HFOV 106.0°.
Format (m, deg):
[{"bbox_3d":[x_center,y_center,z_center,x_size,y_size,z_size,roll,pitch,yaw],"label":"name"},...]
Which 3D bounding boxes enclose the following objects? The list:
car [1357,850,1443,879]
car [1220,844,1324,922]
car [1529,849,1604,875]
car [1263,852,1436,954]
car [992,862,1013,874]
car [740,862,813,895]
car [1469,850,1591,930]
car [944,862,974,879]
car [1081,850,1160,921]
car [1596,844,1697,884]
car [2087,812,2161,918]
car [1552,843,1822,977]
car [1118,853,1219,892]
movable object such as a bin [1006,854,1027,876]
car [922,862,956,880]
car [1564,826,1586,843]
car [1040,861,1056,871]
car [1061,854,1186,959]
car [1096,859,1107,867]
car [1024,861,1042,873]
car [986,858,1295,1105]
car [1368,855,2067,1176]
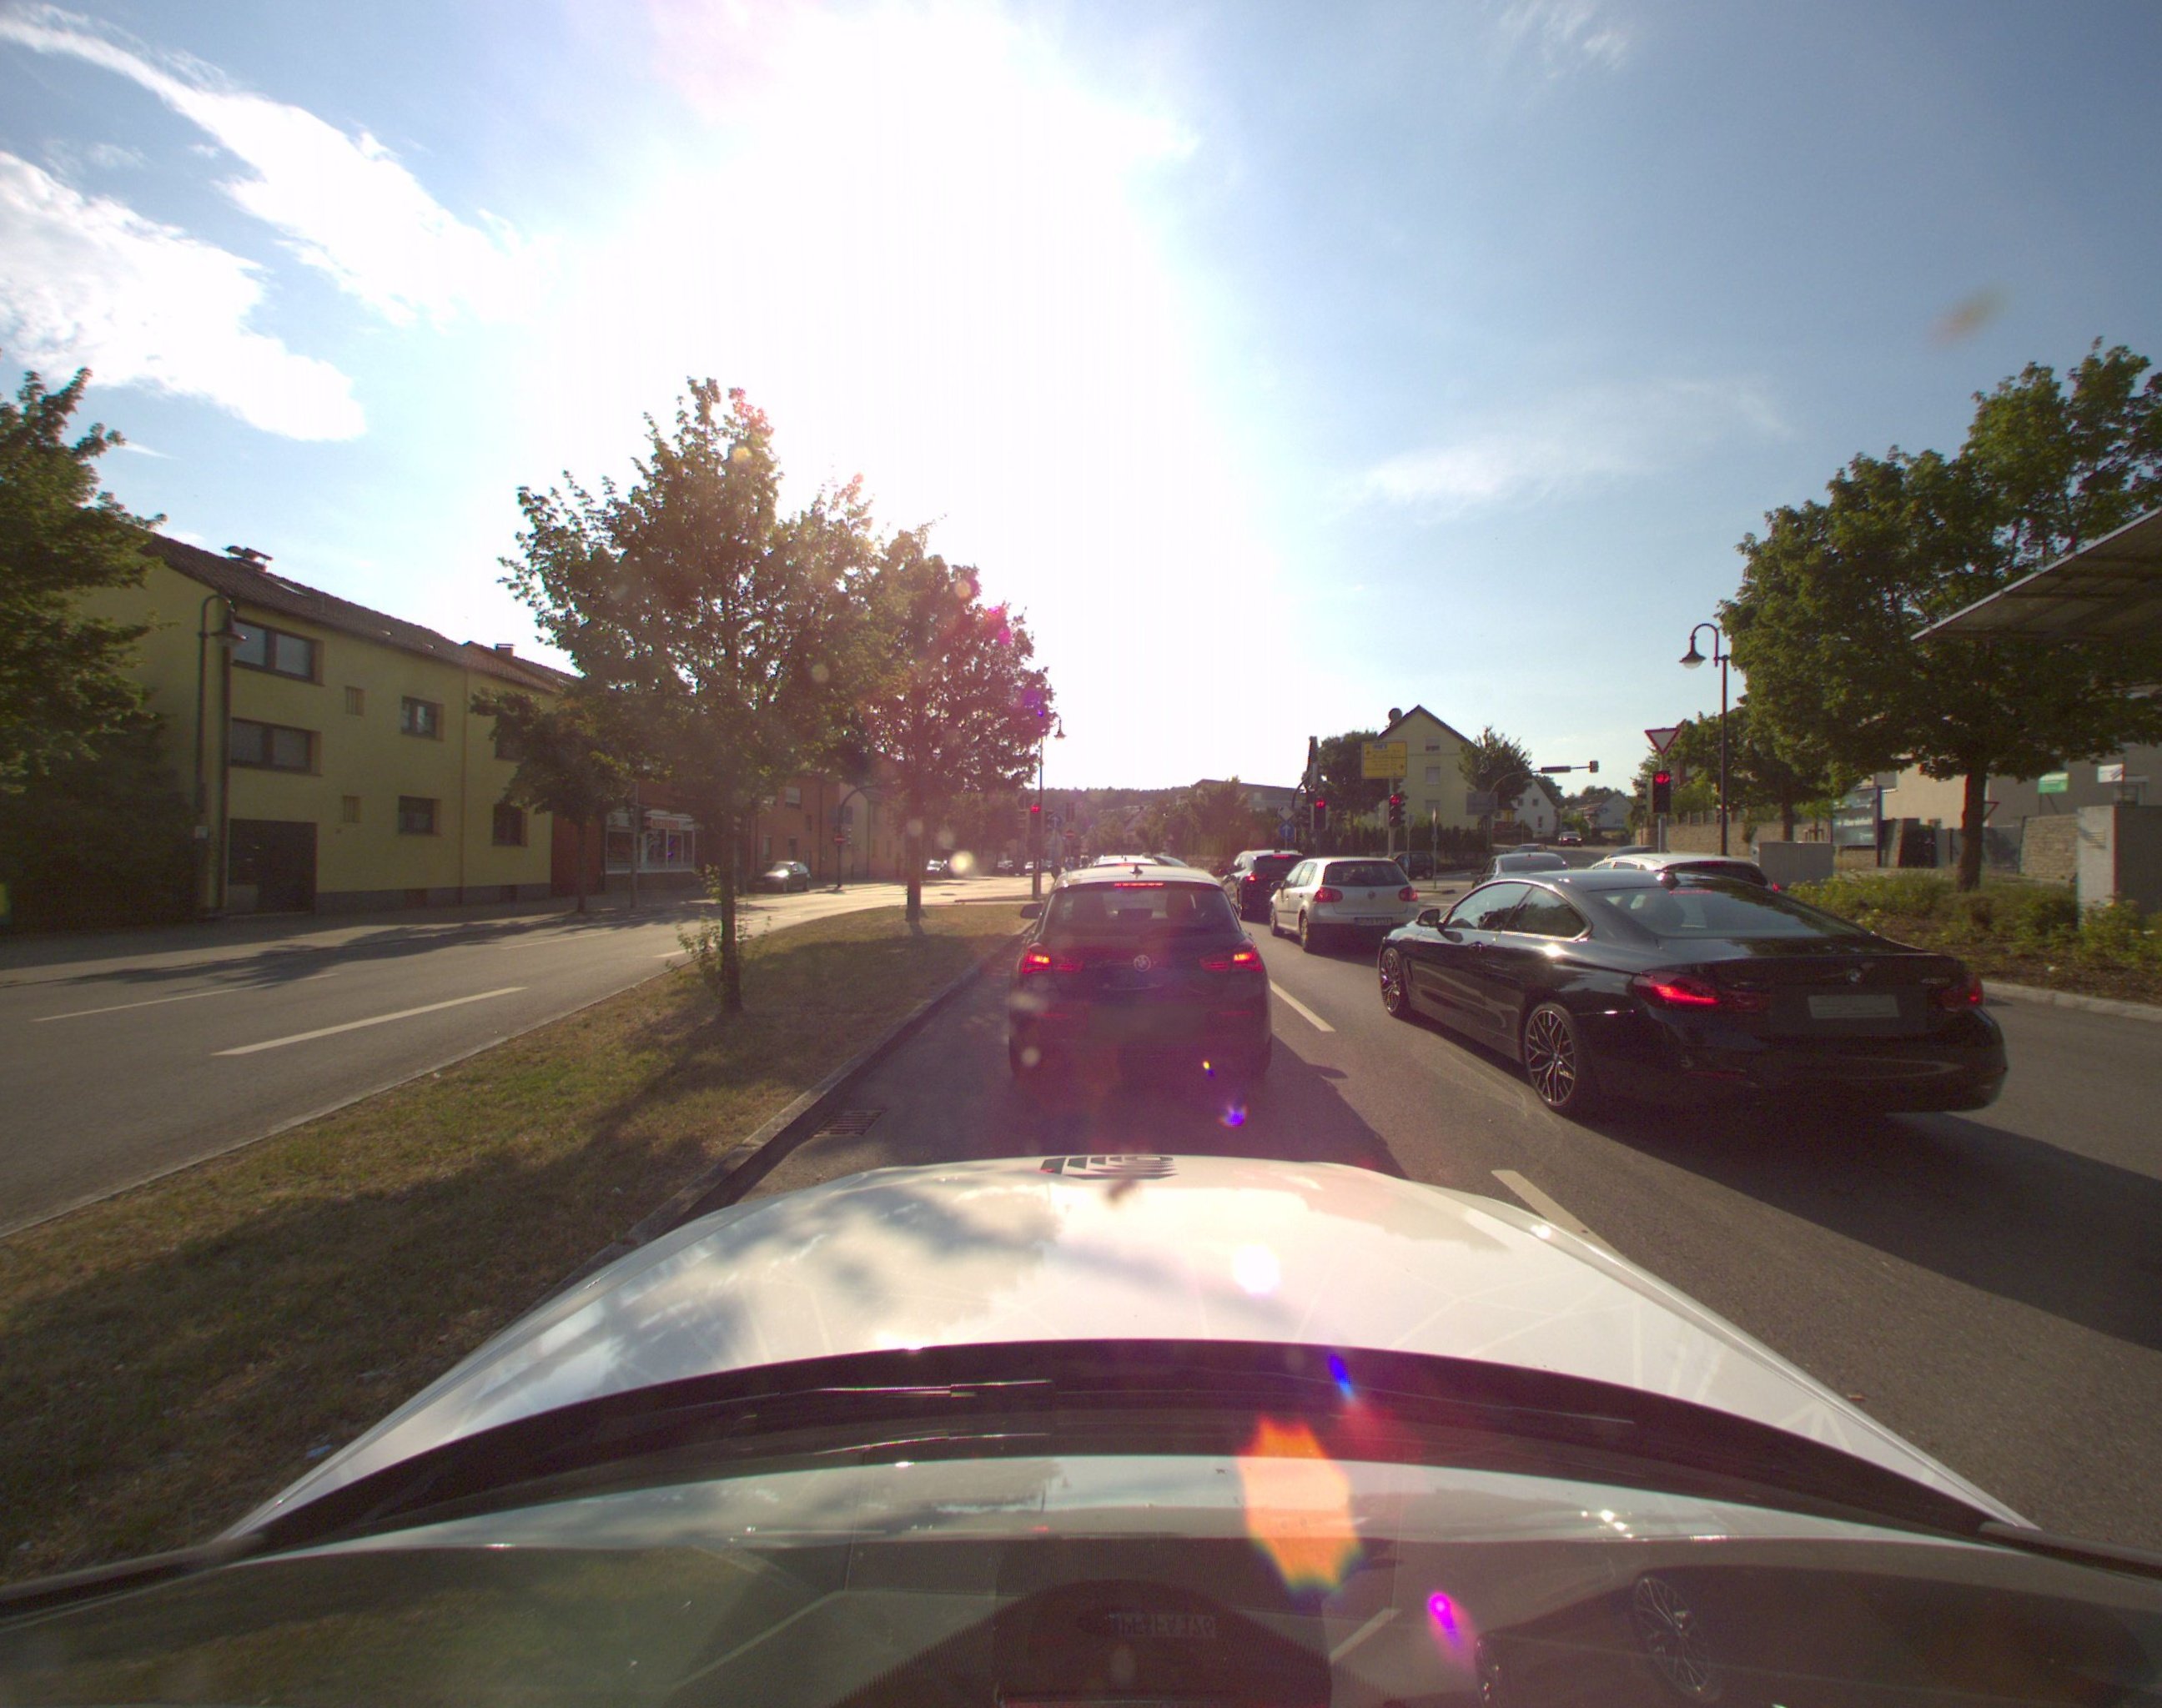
[{"bbox_3d":[17.348,0.568,44.360,3.974,1.489,1.848,0,0,-1],"label":"car"},{"bbox_3d":[4.571,0.646,20.045,1.755,1.656,3.905,-2,0,2],"label":"car"},{"bbox_3d":[29.605,0.475,49.655,4.001,1.489,1.836,0,0,-21],"label":"car"},{"bbox_3d":[4.323,0.712,13.763,1.755,1.426,3.905,-2,0,2],"label":"car"},{"bbox_3d":[-9.345,1.648,97.569,1.729,1.301,3.804,4,0,5],"label":"car"},{"bbox_3d":[-14.136,1.109,38.033,1.730,1.301,4.002,4,0,2],"label":"car"},{"bbox_3d":[9.884,0.710,18.238,1.642,1.542,4.420,-2,0,19],"label":"car"},{"bbox_3d":[-11.045,1.466,73.857,1.729,1.301,4.005,4,0,5],"label":"car"},{"bbox_3d":[1.022,0.737,21.151,1.781,1.594,4.283,-2,0,2],"label":"car"},{"bbox_3d":[25.754,0.438,37.057,4.223,1.680,1.954,-1,0,-26],"label":"car"},{"bbox_3d":[18.496,0.155,12.385,3.793,1.632,1.784,0,0,10],"label":"car"},{"bbox_3d":[8.076,0.669,11.242,1.608,1.542,3.326,-2,0,9],"label":"car"},{"bbox_3d":[3.990,0.863,37.543,4.160,1.680,1.984,-2,0,39],"label":"car"},{"bbox_3d":[-7.109,1.208,90.660,1.729,2.442,4.452,-1,0,3],"label":"movable object such as a bin"},{"bbox_3d":[-11.742,1.421,67.595,1.728,1.301,4.006,4,0,6],"label":"car"},{"bbox_3d":[51.452,-1.970,84.856,1.825,1.641,4.458,-1,0,30],"label":"car"},{"bbox_3d":[-4.767,1.763,116.867,1.729,1.301,3.804,4,0,5],"label":"car"},{"bbox_3d":[0.721,0.776,14.112,1.781,1.494,4.283,-2,0,2],"label":"car"},{"bbox_3d":[3.863,1.728,151.087,1.729,1.301,3.804,4,0,5],"label":"car"},{"bbox_3d":[-6.015,1.655,102.789,1.729,1.301,3.804,4,0,5],"label":"car"},{"bbox_3d":[0.444,0.768,6.968,1.781,1.397,4.283,-2,0,2],"label":"car"},{"bbox_3d":[3.622,0.735,5.823,1.755,1.397,4.283,-2,0,2],"label":"car"}]
